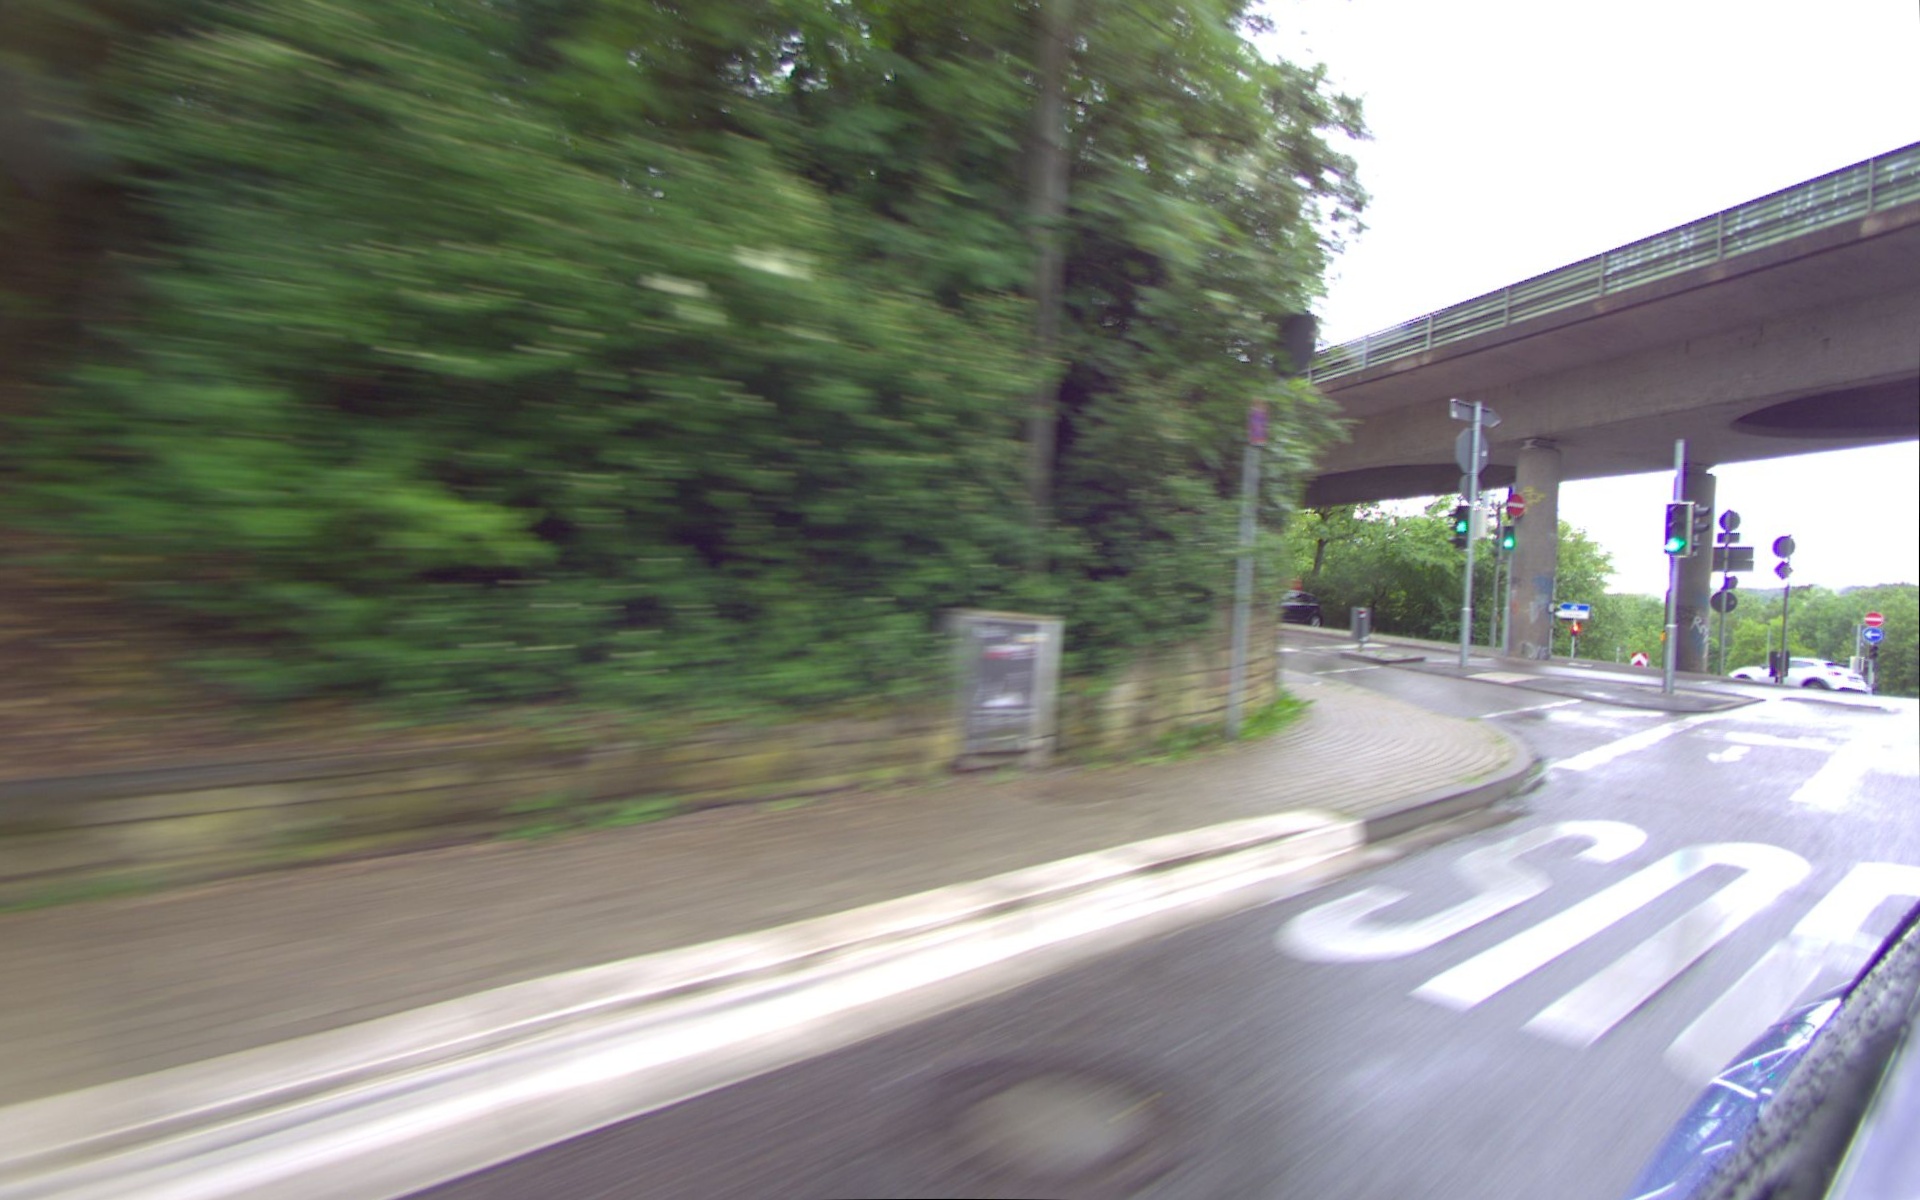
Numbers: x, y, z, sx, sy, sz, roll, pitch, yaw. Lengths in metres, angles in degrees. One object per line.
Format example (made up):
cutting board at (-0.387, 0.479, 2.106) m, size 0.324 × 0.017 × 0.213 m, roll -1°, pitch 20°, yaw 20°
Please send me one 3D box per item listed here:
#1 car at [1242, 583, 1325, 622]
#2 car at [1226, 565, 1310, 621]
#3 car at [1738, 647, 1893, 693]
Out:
car at (13.650, 0.099, 42.750) m, size 2.967 × 1.574 × 1.522 m, roll 0°, pitch 0°, yaw -15°
car at (13.754, -0.330, 45.208) m, size 3.338 × 2.441 × 1.446 m, roll 0°, pitch 0°, yaw -15°
car at (30.584, 2.469, 36.353) m, size 1.731 × 1.326 × 4.008 m, roll 0°, pitch 0°, yaw -13°
